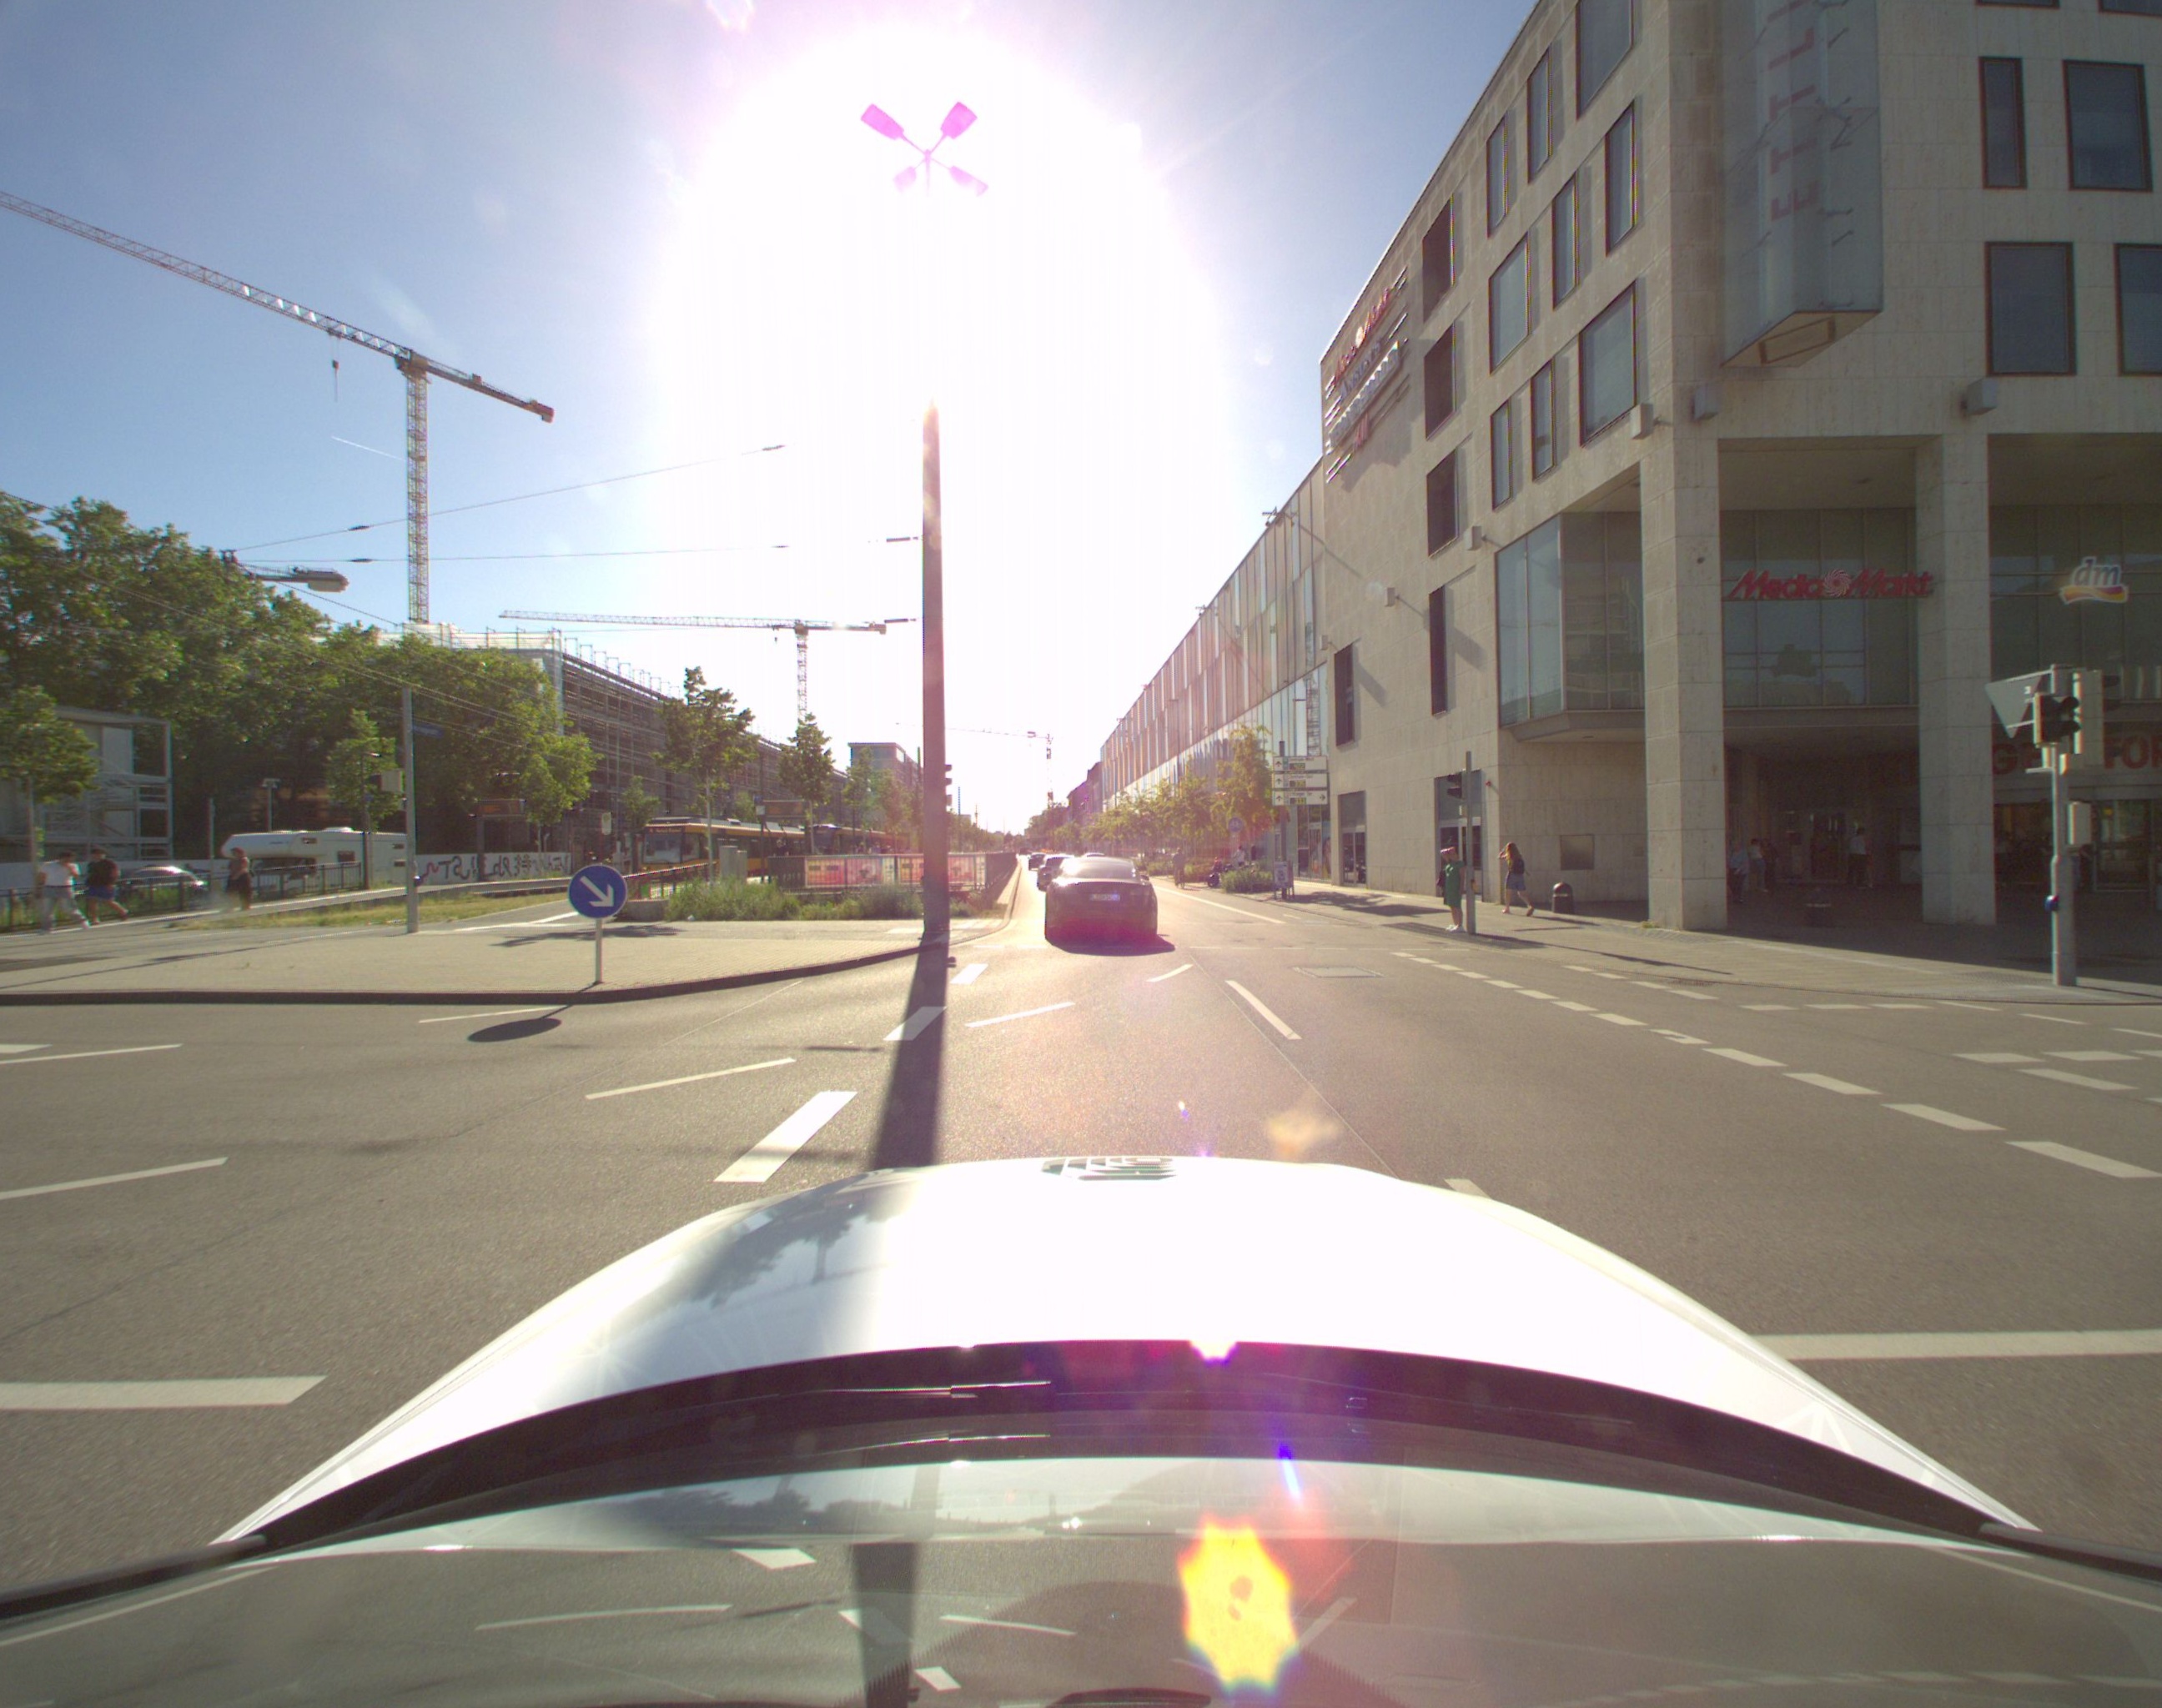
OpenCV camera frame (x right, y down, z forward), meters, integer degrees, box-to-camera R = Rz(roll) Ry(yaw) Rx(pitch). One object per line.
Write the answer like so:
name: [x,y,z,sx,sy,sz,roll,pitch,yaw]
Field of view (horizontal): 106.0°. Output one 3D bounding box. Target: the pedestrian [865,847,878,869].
pedestrian: [-16.012,0.286,62.191,0.740,1.694,0.860,-1,0,-3]

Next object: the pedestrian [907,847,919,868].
pedestrian: [-13.100,0.252,63.576,0.740,1.628,0.860,-1,0,-3]

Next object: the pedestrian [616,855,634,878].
pedestrian: [-24.453,0.665,43.661,0.670,1.226,0.505,1,-1,-7]

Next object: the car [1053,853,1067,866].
car: [-2.950,0.736,112.761,1.883,1.596,3.998,-1,1,-1]

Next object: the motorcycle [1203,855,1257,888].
motorcycle: [6.513,0.747,35.614,2.182,1.324,0.903,-2,0,0]

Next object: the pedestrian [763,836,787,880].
pedestrian: [-12.573,0.149,33.520,0.702,1.775,0.957,1,1,-7]

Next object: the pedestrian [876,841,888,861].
pedestrian: [-16.927,-0.243,69.285,0.740,1.628,0.860,-1,0,-3]

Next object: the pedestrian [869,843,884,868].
pedestrian: [-15.113,0.124,60.091,0.885,1.851,1.006,-1,0,-4]

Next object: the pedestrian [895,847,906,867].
pedestrian: [-15.159,0.239,68.557,0.740,1.628,0.946,-1,0,-3]

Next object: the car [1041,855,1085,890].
car: [-0.824,0.718,34.046,1.713,1.319,3.996,-1,1,-3]

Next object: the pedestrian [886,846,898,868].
pedestrian: [-14.460,0.211,62.269,0.740,1.628,0.860,-1,0,-3]

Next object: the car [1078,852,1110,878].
car: [0.809,0.683,51.497,1.780,1.546,4.035,-1,1,-3]

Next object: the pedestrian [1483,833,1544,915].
pedestrian: [9.969,0.452,18.798,0.726,1.801,1.065,-3,0,-4]

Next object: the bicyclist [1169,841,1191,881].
bicyclist: [4.416,0.320,36.458,0.724,1.737,0.995,-1,0,-8]

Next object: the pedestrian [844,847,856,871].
pedestrian: [-14.869,0.308,52.466,0.646,1.512,0.587,1,1,-7]

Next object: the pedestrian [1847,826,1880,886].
pedestrian: [23.348,0.052,24.306,0.559,1.762,0.643,-2,1,-40]

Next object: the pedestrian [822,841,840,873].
pedestrian: [-13.977,0.166,45.489,0.790,1.775,0.976,1,1,-7]

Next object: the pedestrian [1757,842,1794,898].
pedestrian: [20.697,0.460,24.272,0.559,1.607,0.741,-2,1,-40]

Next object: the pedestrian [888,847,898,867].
pedestrian: [-16.085,0.264,69.660,0.740,1.628,0.860,-1,0,-3]

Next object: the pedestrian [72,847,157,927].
pedestrian: [-22.828,0.761,19.258,0.799,1.823,0.974,-1,0,-6]

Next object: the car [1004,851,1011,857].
car: [-23.175,0.023,257.318,1.990,1.684,3.993,1,0,-5]

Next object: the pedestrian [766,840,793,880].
pedestrian: [-13.554,0.268,36.639,0.873,1.775,1.186,1,1,-7]

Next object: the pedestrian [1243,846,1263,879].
pedestrian: [8.989,0.442,42.526,0.706,1.658,0.898,-3,0,-8]

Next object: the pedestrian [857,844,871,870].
pedestrian: [-15.225,0.214,57.120,0.768,1.811,1.029,-1,0,-5]

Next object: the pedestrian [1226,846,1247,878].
pedestrian: [8.123,0.404,42.680,0.820,1.658,0.898,-1,0,-8]

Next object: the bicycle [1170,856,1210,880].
bicycle: [5.939,0.746,44.382,2.077,1.205,0.951,-2,0,2]

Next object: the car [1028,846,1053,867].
car: [-3.304,0.180,67.241,1.883,1.596,3.998,-1,1,-1]

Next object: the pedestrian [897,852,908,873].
pedestrian: [-13.935,0.630,63.591,0.740,1.628,0.860,-1,0,-3]

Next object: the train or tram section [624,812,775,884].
train or tram section: [-20.325,-0.300,44.673,2.865,3.309,13.054,1,0,-4]

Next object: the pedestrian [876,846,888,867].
pedestrian: [-16.053,0.209,65.780,0.740,1.628,0.860,-1,0,-3]

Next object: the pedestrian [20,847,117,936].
pedestrian: [-21.531,0.776,17.340,0.799,1.823,0.974,-1,0,-6]

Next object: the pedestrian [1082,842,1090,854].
pedestrian: [0.829,-1.008,137.873,1.093,1.863,1.520,-1,1,-5]

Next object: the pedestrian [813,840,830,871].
pedestrian: [-15.089,0.057,47.423,0.760,1.775,0.825,1,1,-6]

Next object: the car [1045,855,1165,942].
car: [0.333,0.751,15.626,1.994,1.434,4.409,0,0,-2]

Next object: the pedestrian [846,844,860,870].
pedestrian: [-15.988,0.210,57.164,0.670,1.811,1.073,-1,0,-5]

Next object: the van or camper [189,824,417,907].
van or camper: [-30.974,0.380,32.975,2.601,2.937,7.329,-1,0,-5]

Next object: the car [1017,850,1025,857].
car: [-15.600,-0.192,211.707,1.809,1.809,4.035,-1,1,-3]

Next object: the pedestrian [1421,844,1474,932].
pedestrian: [7.411,0.678,16.494,0.656,1.702,0.696,-3,0,-6]

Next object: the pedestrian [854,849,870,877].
pedestrian: [-12.973,0.546,48.229,0.740,1.628,0.860,-1,0,-3]

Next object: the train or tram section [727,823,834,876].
train or tram section: [-21.305,-0.353,59.145,2.842,3.321,15.944,1,0,-4]

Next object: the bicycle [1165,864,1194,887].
bicycle: [4.408,0.952,36.467,0.728,0.983,2.327,-1,0,-7]

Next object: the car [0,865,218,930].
car: [-29.807,1.247,25.117,1.942,1.707,4.359,-1,0,-5]

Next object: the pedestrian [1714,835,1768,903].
pedestrian: [16.194,0.353,20.000,0.721,1.607,0.749,-1,1,-3]

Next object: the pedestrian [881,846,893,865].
pedestrian: [-16.106,0.116,67.662,0.740,1.628,0.860,-1,0,-3]

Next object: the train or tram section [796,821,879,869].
train or tram section: [-18.566,-0.641,63.398,2.865,3.279,15.163,1,0,-4]

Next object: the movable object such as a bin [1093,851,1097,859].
movable object such as a bin: [2.296,0.168,135.483,0.557,1.169,0.562,1,-1,0]

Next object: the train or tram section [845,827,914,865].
train or tram section: [-19.802,-0.715,82.012,2.865,3.279,22.112,1,0,-4]

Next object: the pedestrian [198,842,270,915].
pedestrian: [-21.712,0.606,20.893,0.799,1.823,0.974,-1,0,-6]

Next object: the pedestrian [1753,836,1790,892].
pedestrian: [20.196,0.282,23.828,0.559,1.607,0.741,-2,1,-40]

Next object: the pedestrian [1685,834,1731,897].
pedestrian: [16.227,0.285,21.087,0.746,1.607,0.556,-1,1,-5]

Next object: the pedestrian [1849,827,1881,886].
pedestrian: [23.862,0.062,24.780,0.559,1.762,0.643,-2,1,-40]
